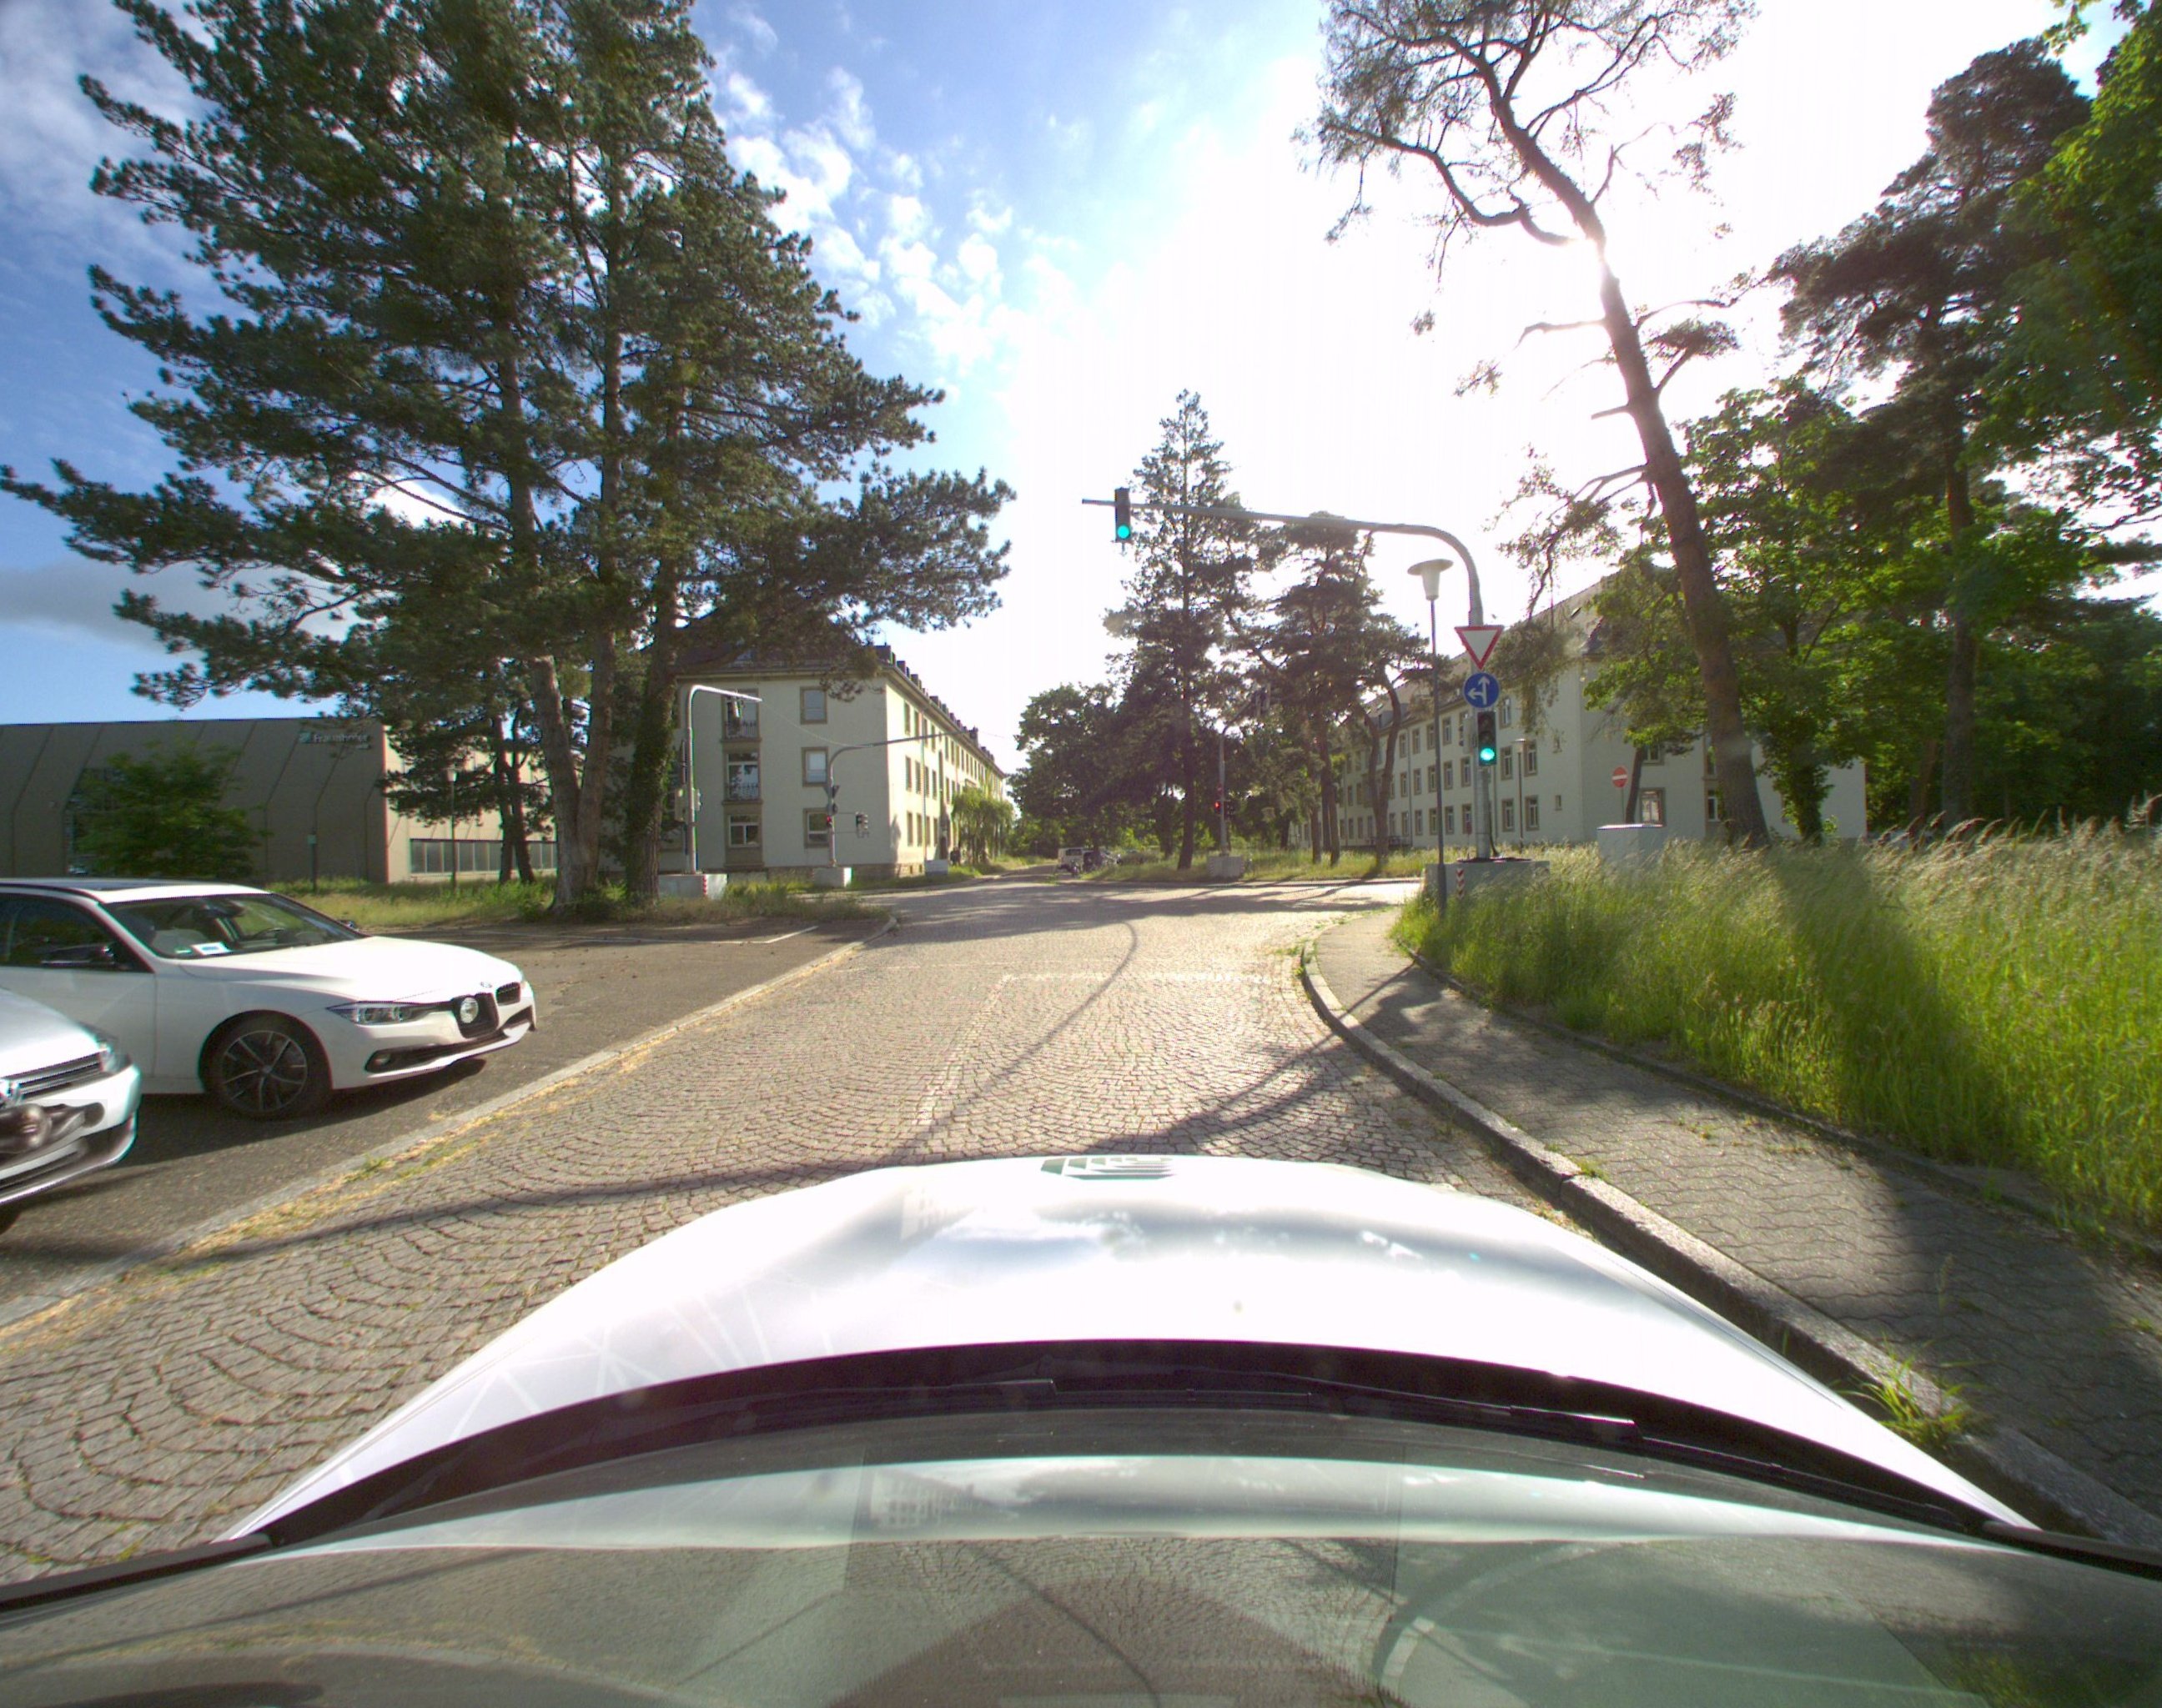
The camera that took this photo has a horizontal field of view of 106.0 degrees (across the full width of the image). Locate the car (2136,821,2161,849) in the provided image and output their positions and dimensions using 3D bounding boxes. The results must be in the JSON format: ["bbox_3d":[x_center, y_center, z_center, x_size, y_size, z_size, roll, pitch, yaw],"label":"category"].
[{"bbox_3d":[57.247,-1.022,41.830,3.978,1.464,1.845,-2,0,-4],"label":"car"}]

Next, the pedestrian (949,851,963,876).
[{"bbox_3d":[-9.360,0.732,60.968,0.806,1.817,0.556,-2,0,10],"label":"pedestrian"}]

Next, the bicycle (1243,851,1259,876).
[{"bbox_3d":[7.424,0.420,35.569,0.464,1.080,1.175,-2,0,4],"label":"bicycle"}]

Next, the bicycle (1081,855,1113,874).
[{"bbox_3d":[0.987,0.652,50.754,1.938,1.129,0.646,-2,0,-6],"label":"bicycle"}]

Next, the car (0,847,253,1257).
[{"bbox_3d":[-6.282,0.764,3.260,3.936,1.626,1.719,1,0,-5],"label":"car"}]

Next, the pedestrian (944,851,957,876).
[{"bbox_3d":[-9.932,0.721,62.060,0.762,1.817,0.684,-2,0,11],"label":"pedestrian"}]

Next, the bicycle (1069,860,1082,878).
[{"bbox_3d":[-0.326,0.833,46.097,0.693,0.971,1.859,-1,0,-2],"label":"bicycle"}]

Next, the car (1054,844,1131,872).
[{"bbox_3d":[0.909,0.300,65.670,5.925,2.013,2.469,-2,0,-7],"label":"car"}]

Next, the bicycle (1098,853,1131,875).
[{"bbox_3d":[2.011,0.605,49.158,1.936,1.235,0.485,-2,0,-3],"label":"bicycle"}]

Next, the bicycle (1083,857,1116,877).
[{"bbox_3d":[1.089,0.743,48.448,1.936,1.129,0.749,-2,0,-3],"label":"bicycle"}]

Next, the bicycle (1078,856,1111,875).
[{"bbox_3d":[0.813,0.702,49.665,1.951,1.129,0.642,-2,0,-27],"label":"bicycle"}]

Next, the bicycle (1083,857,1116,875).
[{"bbox_3d":[1.091,0.701,47.651,1.850,1.031,0.749,-2,0,-3],"label":"bicycle"}]

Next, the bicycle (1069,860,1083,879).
[{"bbox_3d":[-0.274,0.841,44.160,0.693,0.971,1.859,-1,0,-2],"label":"bicycle"}]

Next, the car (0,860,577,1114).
[{"bbox_3d":[-6.437,0.827,5.784,4.530,1.467,1.751,1,0,-3],"label":"car"}]

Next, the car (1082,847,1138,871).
[{"bbox_3d":[2.149,0.392,61.439,3.984,1.684,1.842,-2,0,-8],"label":"car"}]
